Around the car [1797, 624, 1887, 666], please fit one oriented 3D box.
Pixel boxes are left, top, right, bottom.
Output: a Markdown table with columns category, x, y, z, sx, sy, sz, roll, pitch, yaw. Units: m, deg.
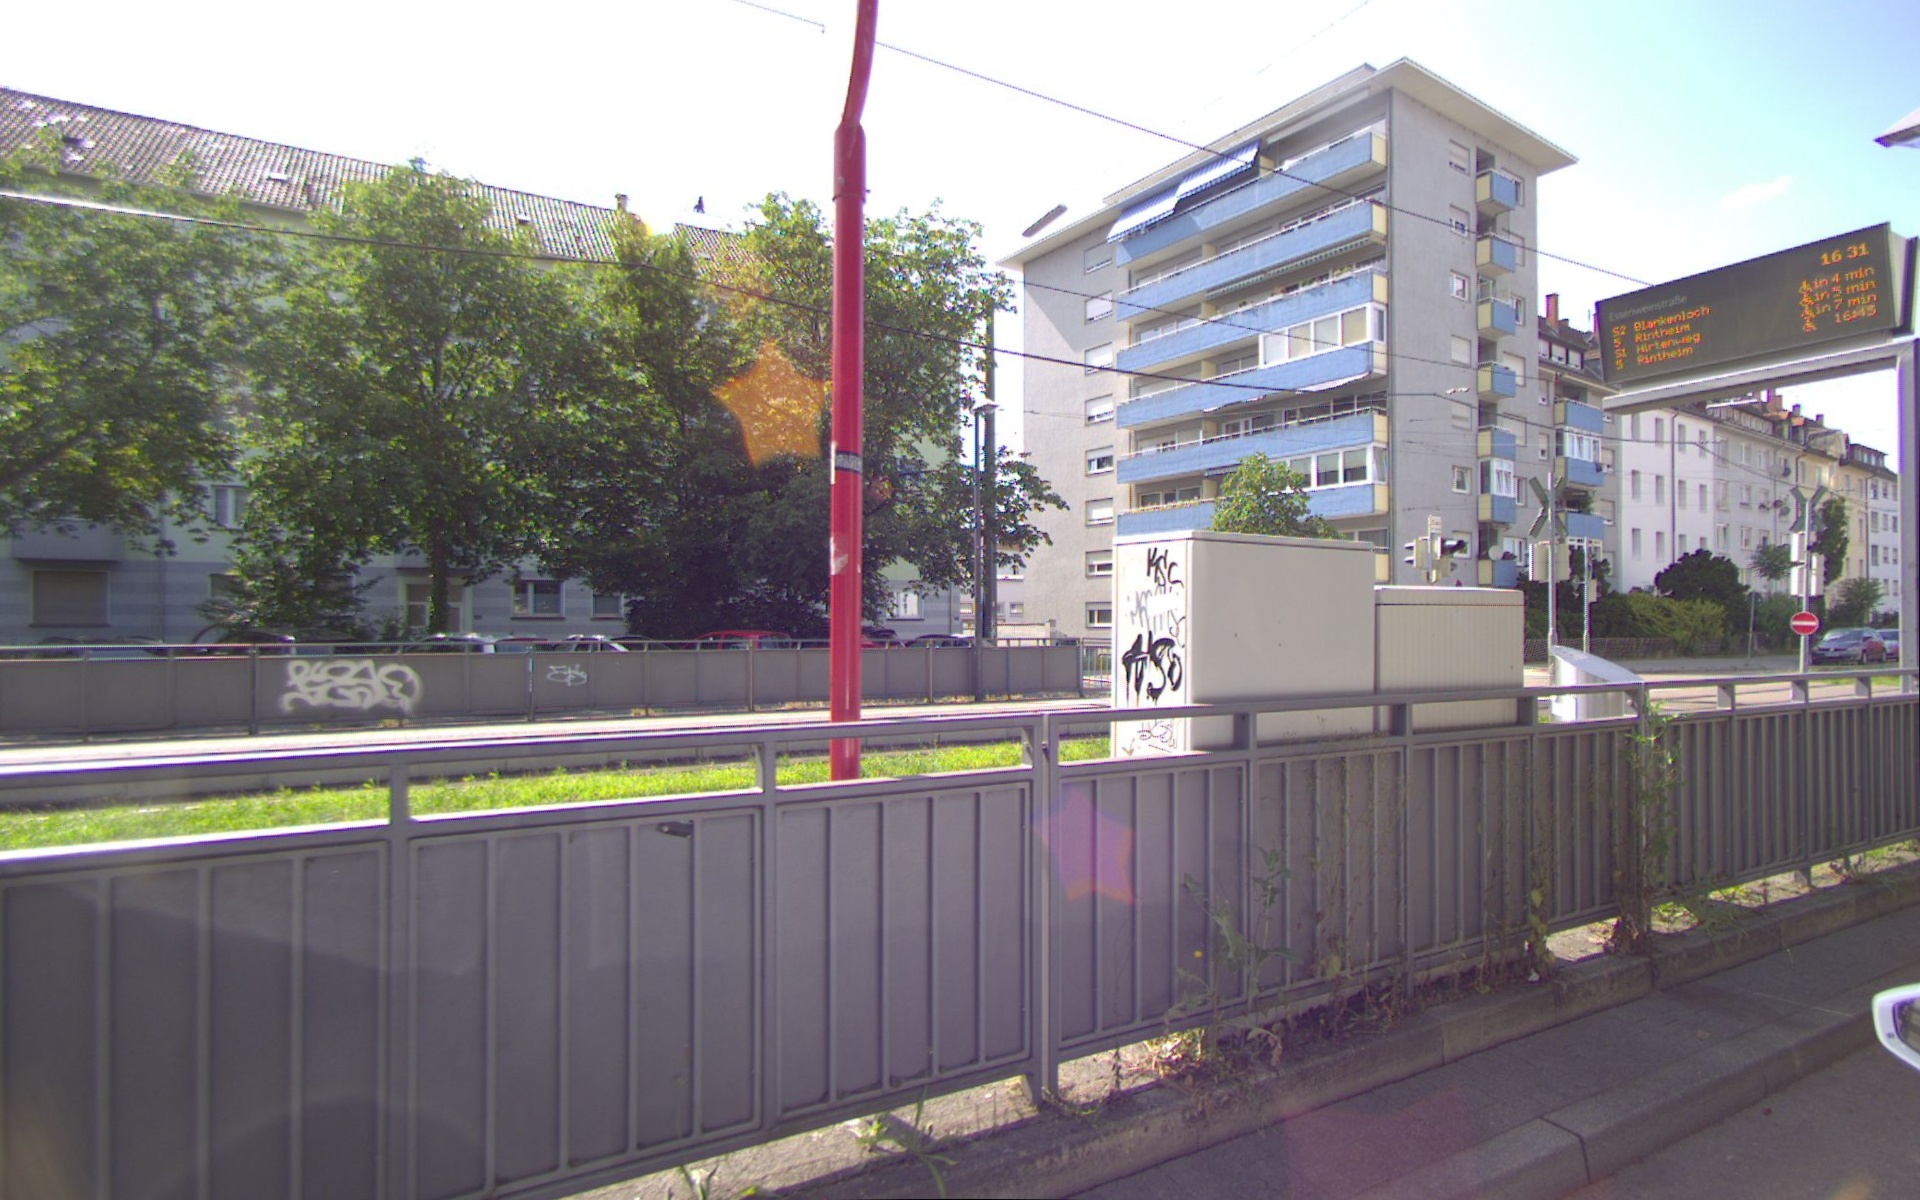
| category | x | y | z | sx | sy | sz | roll | pitch | yaw |
| --- | --- | --- | --- | --- | --- | --- | --- | --- | --- |
| car | 38.486 | 1.948 | 43.833 | 3.958 | 1.667 | 1.982 | 2 | 0 | -33 |

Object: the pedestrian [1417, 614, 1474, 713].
| category | x | y | z | sx | sy | sz | roll | pitch | yaw |
| --- | --- | --- | --- | --- | --- | --- | --- | --- | --- |
| pedestrian | 8.506 | 1.097 | 17.601 | 0.625 | 1.686 | 0.657 | 1 | -2 | -30 |

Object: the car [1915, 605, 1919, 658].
| category | x | y | z | sx | sy | sz | roll | pitch | yaw |
| --- | --- | --- | --- | --- | --- | --- | --- | --- | --- |
| car | 43.992 | 1.391 | 44.178 | 4.784 | 2.305 | 1.981 | 1 | -1 | -34 |

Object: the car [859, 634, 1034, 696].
| category | x | y | z | sx | sy | sz | roll | pitch | yaw |
| --- | --- | --- | --- | --- | --- | --- | --- | --- | --- |
| car | -0.337 | 1.564 | 24.873 | 4.054 | 1.412 | 1.609 | -1 | -2 | 23 |

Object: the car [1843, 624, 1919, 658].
| category | x | y | z | sx | sy | sz | roll | pitch | yaw |
| --- | --- | --- | --- | --- | --- | --- | --- | --- | --- |
| car | 43.370 | 1.914 | 47.259 | 3.958 | 1.461 | 1.757 | 2 | 0 | -34 |

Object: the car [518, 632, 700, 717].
| category | x | y | z | sx | sy | sz | roll | pitch | yaw |
| --- | --- | --- | --- | --- | --- | --- | --- | --- | --- |
| car | -7.317 | 1.479 | 20.888 | 3.602 | 1.600 | 1.646 | -1 | -1 | 30 |

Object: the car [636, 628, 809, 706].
| category | x | y | z | sx | sy | sz | roll | pitch | yaw |
| --- | --- | --- | --- | --- | --- | --- | --- | --- | --- |
| car | -5.275 | 1.426 | 22.263 | 3.602 | 1.600 | 1.646 | -1 | -1 | 30 |

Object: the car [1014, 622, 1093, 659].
| category | x | y | z | sx | sy | sz | roll | pitch | yaw |
| --- | --- | --- | --- | --- | --- | --- | --- | --- | --- |
| car | 4.673 | 2.030 | 50.739 | 1.977 | 1.706 | 3.966 | 1 | 0 | -31 |

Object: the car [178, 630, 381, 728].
| category | x | y | z | sx | sy | sz | roll | pitch | yaw |
| --- | --- | --- | --- | --- | --- | --- | --- | --- | --- |
| car | -12.263 | 1.342 | 18.071 | 3.602 | 1.600 | 1.646 | -1 | -1 | 30 |

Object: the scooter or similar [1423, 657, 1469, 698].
| category | x | y | z | sx | sy | sz | roll | pitch | yaw |
| --- | --- | --- | --- | --- | --- | --- | --- | --- | --- |
| scooter or similar | 8.837 | 1.394 | 18.253 | 0.692 | 0.708 | 0.440 | 1 | -2 | -30 |

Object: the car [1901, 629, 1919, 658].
| category | x | y | z | sx | sy | sz | roll | pitch | yaw |
| --- | --- | --- | --- | --- | --- | --- | --- | --- | --- |
| car | 51.411 | 2.317 | 53.011 | 3.960 | 1.461 | 1.756 | 2 | 0 | -35 |

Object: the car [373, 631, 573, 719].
| category | x | y | z | sx | sy | sz | roll | pitch | yaw |
| --- | --- | --- | --- | --- | --- | --- | --- | --- | --- |
| car | -9.430 | 1.376 | 19.391 | 3.958 | 1.534 | 1.606 | -1 | -2 | 32 |

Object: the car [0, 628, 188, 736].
| category | x | y | z | sx | sy | sz | roll | pitch | yaw |
| --- | --- | --- | --- | --- | --- | --- | --- | --- | --- |
| car | -14.604 | 1.277 | 16.650 | 3.602 | 1.600 | 1.646 | -1 | -1 | 30 |
